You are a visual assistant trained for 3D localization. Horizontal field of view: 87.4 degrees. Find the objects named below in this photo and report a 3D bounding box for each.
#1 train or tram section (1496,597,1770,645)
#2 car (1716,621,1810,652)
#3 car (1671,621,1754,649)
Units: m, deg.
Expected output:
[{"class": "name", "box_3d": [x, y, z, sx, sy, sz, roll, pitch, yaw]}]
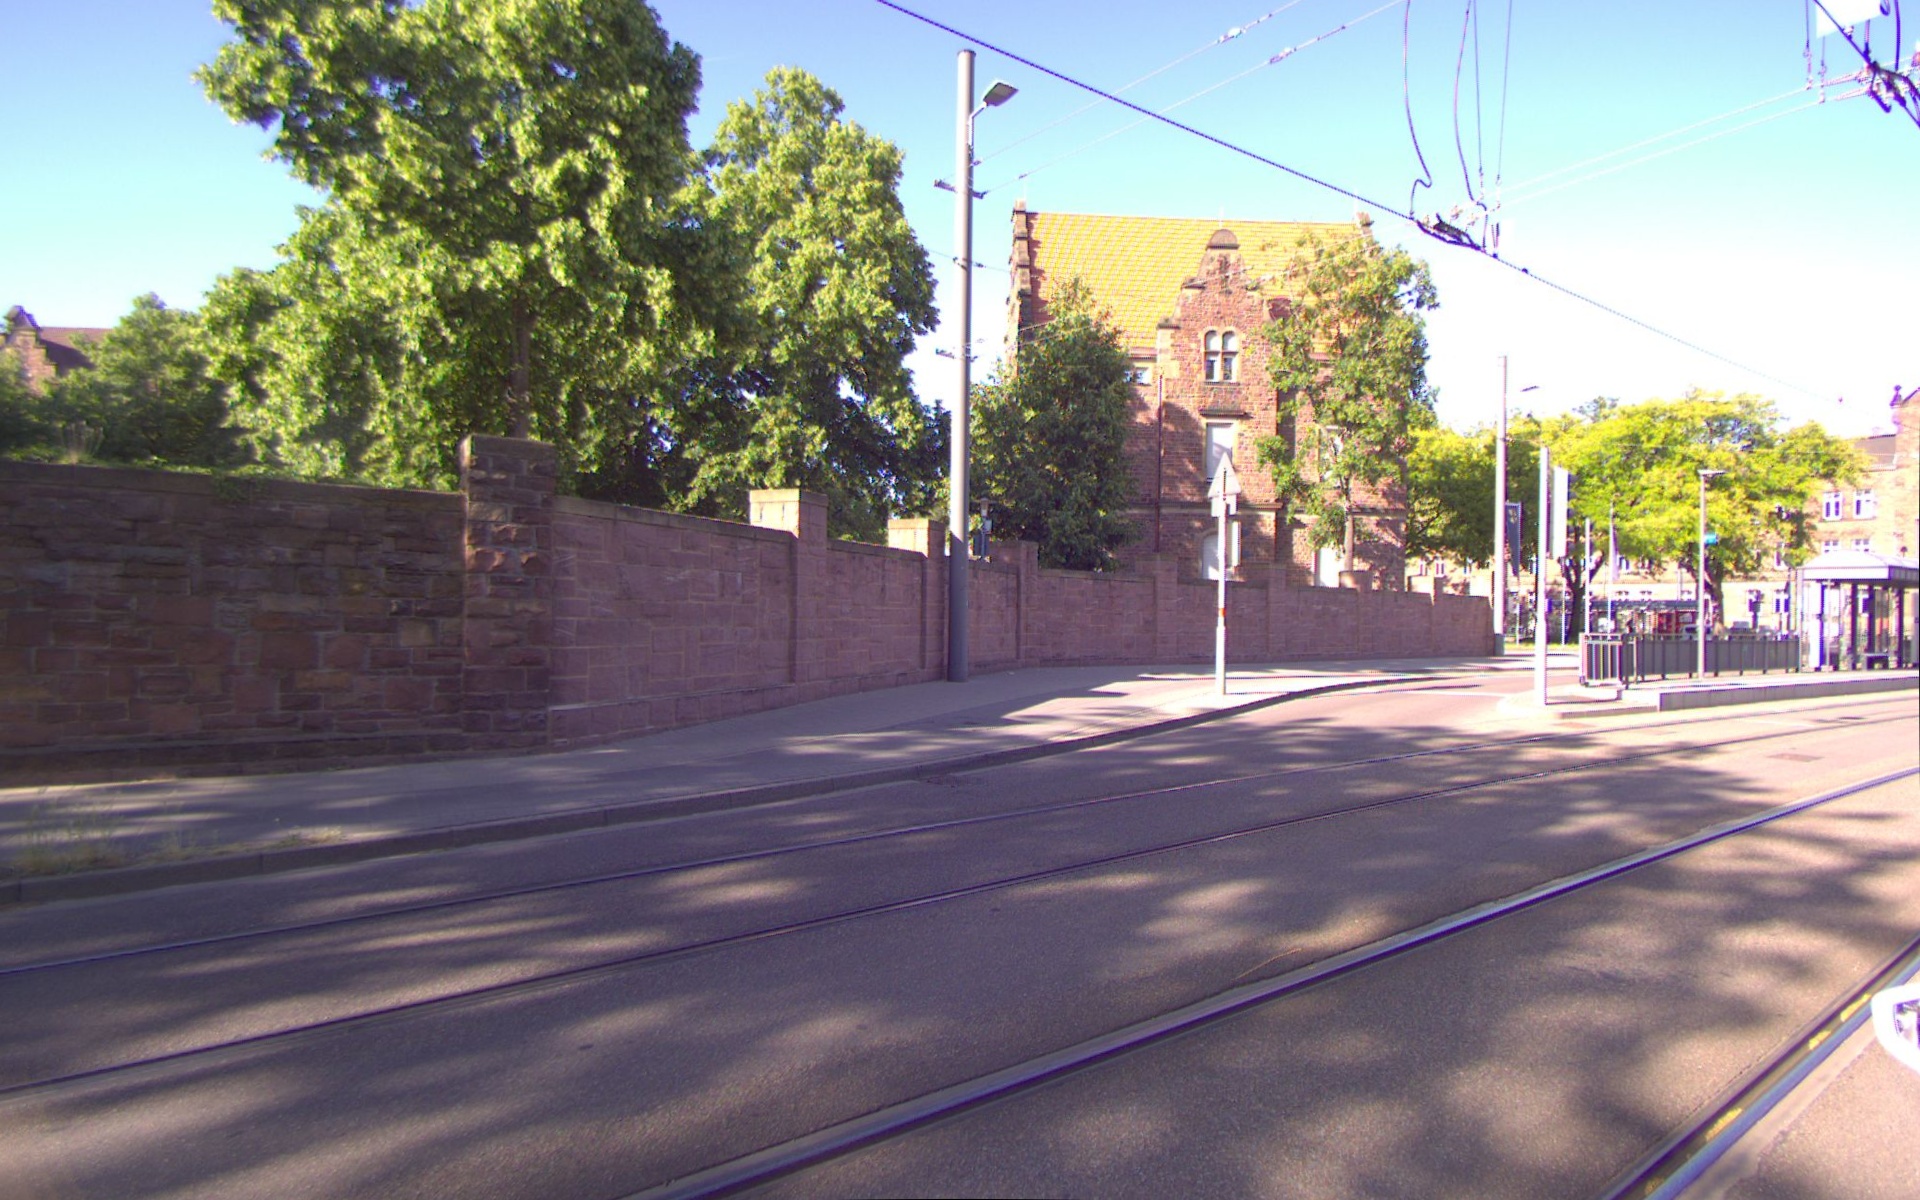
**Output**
[{"class": "train or tram section", "box_3d": [50.017, 1.471, 75.881, 3.312, 3.196, 17.280, 2, -1, -33]}, {"class": "car", "box_3d": [47.743, 2.169, 59.793, 1.798, 1.651, 3.964, 2, 0, -32]}, {"class": "car", "box_3d": [49.167, 2.253, 65.677, 1.798, 1.651, 3.964, 2, 0, -32]}]
